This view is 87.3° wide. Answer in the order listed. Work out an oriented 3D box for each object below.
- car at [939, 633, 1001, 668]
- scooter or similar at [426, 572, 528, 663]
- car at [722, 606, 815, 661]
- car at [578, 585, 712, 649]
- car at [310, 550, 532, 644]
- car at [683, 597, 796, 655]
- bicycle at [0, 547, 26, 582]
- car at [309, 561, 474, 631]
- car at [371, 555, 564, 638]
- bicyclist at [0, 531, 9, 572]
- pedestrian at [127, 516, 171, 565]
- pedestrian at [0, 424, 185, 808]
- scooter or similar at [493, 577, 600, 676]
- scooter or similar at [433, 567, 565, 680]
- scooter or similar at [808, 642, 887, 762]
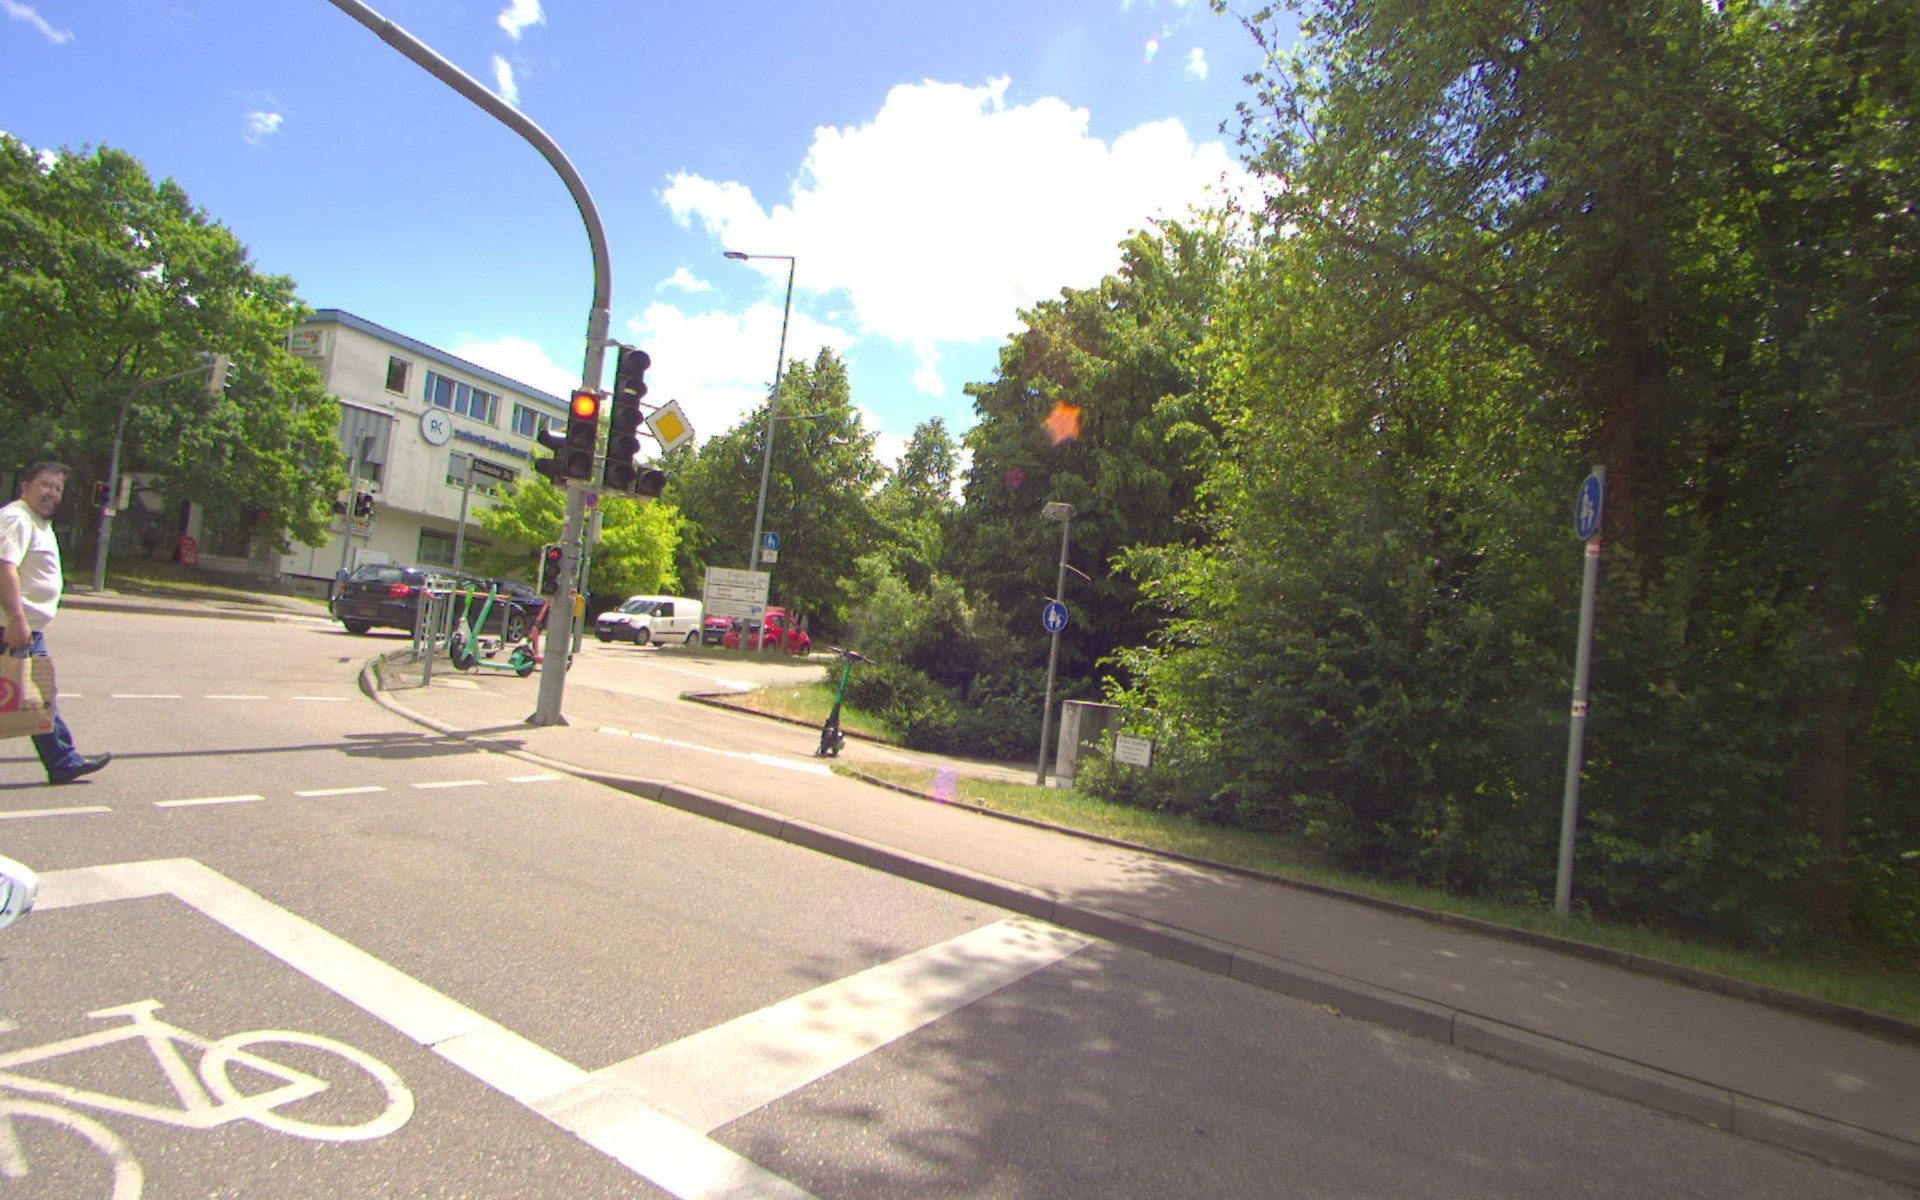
[{"bbox_3d":[0.596,2.746,53.983,1.962,1.571,4.526,7,-2,17],"label":"car"},{"bbox_3d":[-7.001,0.276,14.654,0.533,1.168,1.362,9,-3,7],"label":"scooter or similar"},{"bbox_3d":[-6.204,1.141,32.913,1.518,1.458,3.200,7,-2,18],"label":"car"},{"bbox_3d":[-11.120,0.668,35.889,1.963,1.737,4.576,7,-2,22],"label":"car"},{"bbox_3d":[-10.617,0.026,20.183,1.724,1.504,4.005,4,-2,10],"label":"car"},{"bbox_3d":[-8.916,1.117,41.103,1.964,1.885,4.822,5,-3,22],"label":"car"},{"bbox_3d":[-24.825,-1.006,25.278,1.778,0.828,0.793,8,-2,-9],"label":"bicycle"},{"bbox_3d":[-17.279,-0.073,30.810,1.963,1.573,3.923,7,-2,21],"label":"car"},{"bbox_3d":[-13.885,-0.021,28.690,1.964,1.737,4.574,7,-2,25],"label":"car"},{"bbox_3d":[-24.644,-1.282,25.291,0.625,1.034,0.793,8,-2,-10],"label":"bicyclist"},{"bbox_3d":[-31.154,-2.279,38.632,0.890,1.662,0.771,7,-1,17],"label":"pedestrian"},{"bbox_3d":[-4.793,0.074,5.167,0.729,1.829,0.871,7,-1,28],"label":"pedestrian"},{"bbox_3d":[-5.987,0.409,14.627,0.547,1.254,1.231,8,-3,23],"label":"scooter or similar"},{"bbox_3d":[-5.932,0.328,12.994,0.455,1.292,1.344,8,-1,38],"label":"scooter or similar"},{"bbox_3d":[-1.393,1.245,12.258,0.706,1.287,1.243,10,-7,-8],"label":"scooter or similar"}]
